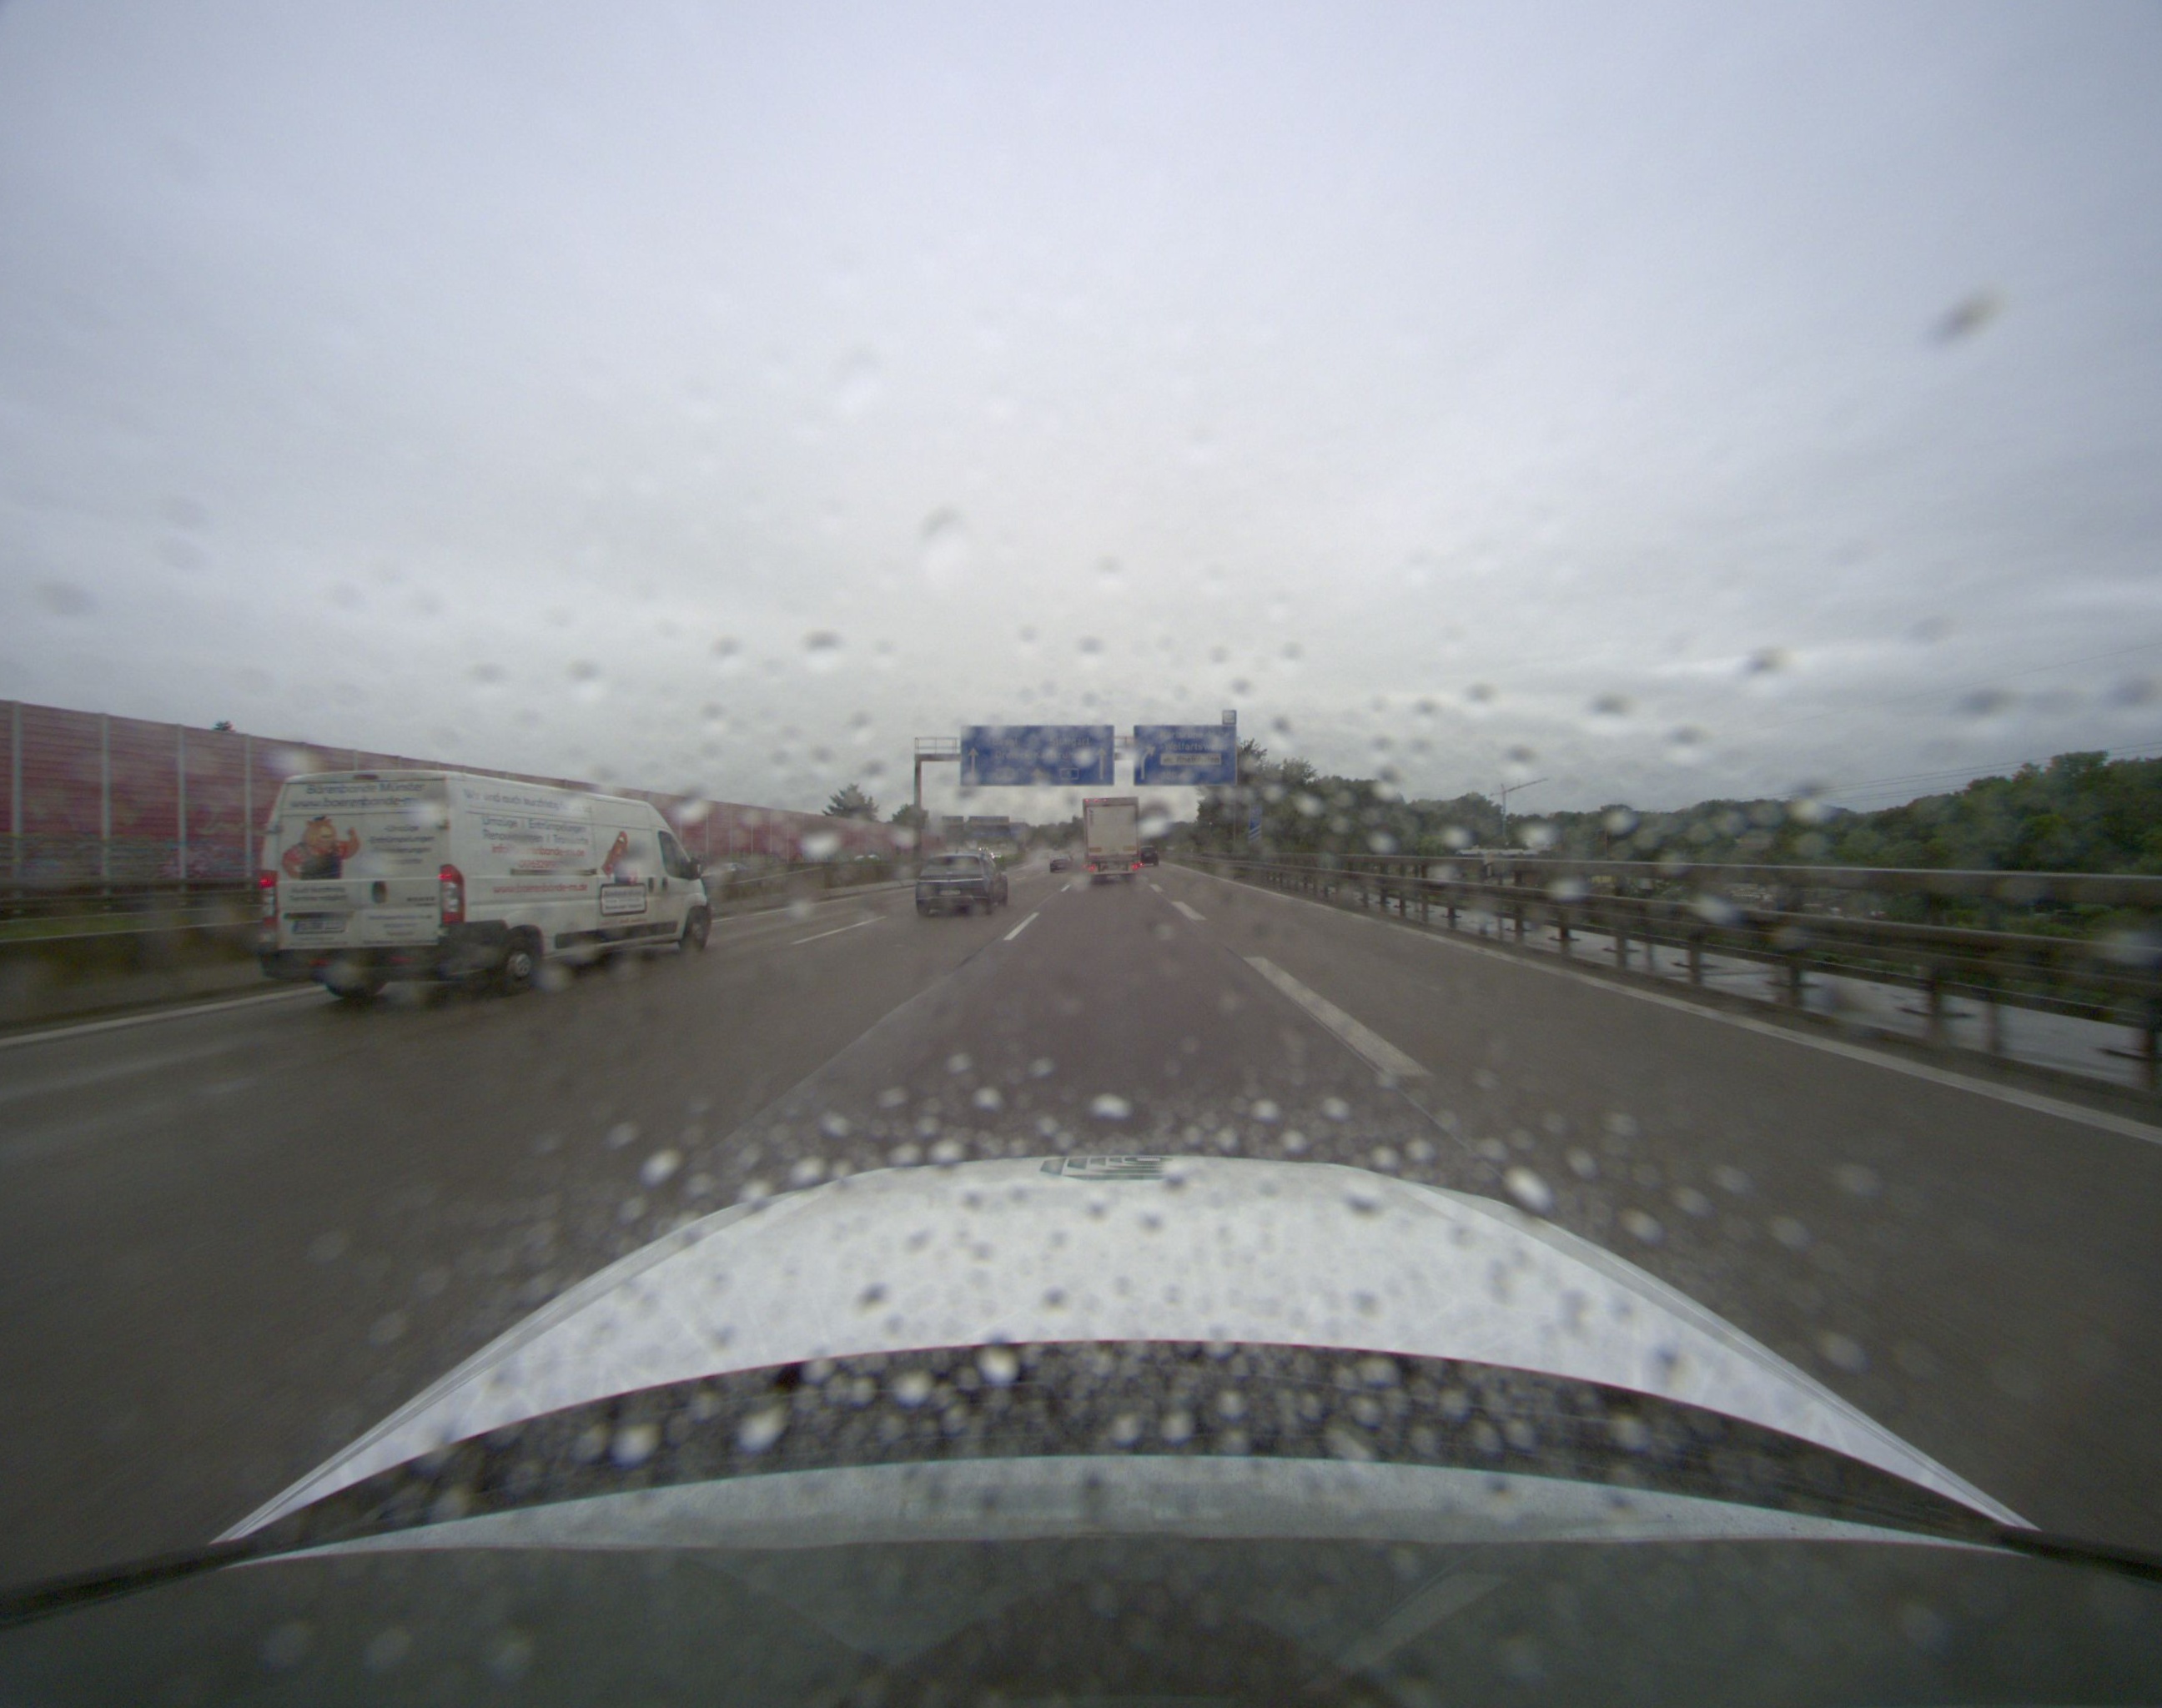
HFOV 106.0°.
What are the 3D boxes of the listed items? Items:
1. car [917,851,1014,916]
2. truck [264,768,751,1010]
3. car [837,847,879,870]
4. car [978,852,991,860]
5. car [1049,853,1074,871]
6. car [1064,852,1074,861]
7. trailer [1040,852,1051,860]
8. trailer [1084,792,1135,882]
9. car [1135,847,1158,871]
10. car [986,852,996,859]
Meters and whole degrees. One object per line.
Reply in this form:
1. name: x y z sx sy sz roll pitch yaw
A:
1. car: -3.085 0.756 22.878 1.832 1.594 5.157 -1 0 1
2. truck: -7.333 0.369 11.806 2.229 2.479 6.585 -1 0 1
3. car: -17.021 0.335 62.276 1.987 1.571 4.000 2 0 1
4. car: -19.822 0.329 167.742 1.987 1.571 4.000 2 0 1
5. car: -1.563 0.632 67.626 1.719 1.403 4.831 2 0 2
6. car: -2.304 0.544 157.127 1.886 1.723 4.002 0 0 2
7. trailer: -6.990 0.404 162.112 1.808 1.624 4.571 1 0 2
8. trailer: 1.609 -0.872 44.824 2.333 4.157 14.836 0 1 2
9. car: 5.575 0.405 69.836 1.889 1.949 4.004 1 0 3
10. car: -21.795 0.280 197.215 1.987 1.571 4.000 2 0 1
